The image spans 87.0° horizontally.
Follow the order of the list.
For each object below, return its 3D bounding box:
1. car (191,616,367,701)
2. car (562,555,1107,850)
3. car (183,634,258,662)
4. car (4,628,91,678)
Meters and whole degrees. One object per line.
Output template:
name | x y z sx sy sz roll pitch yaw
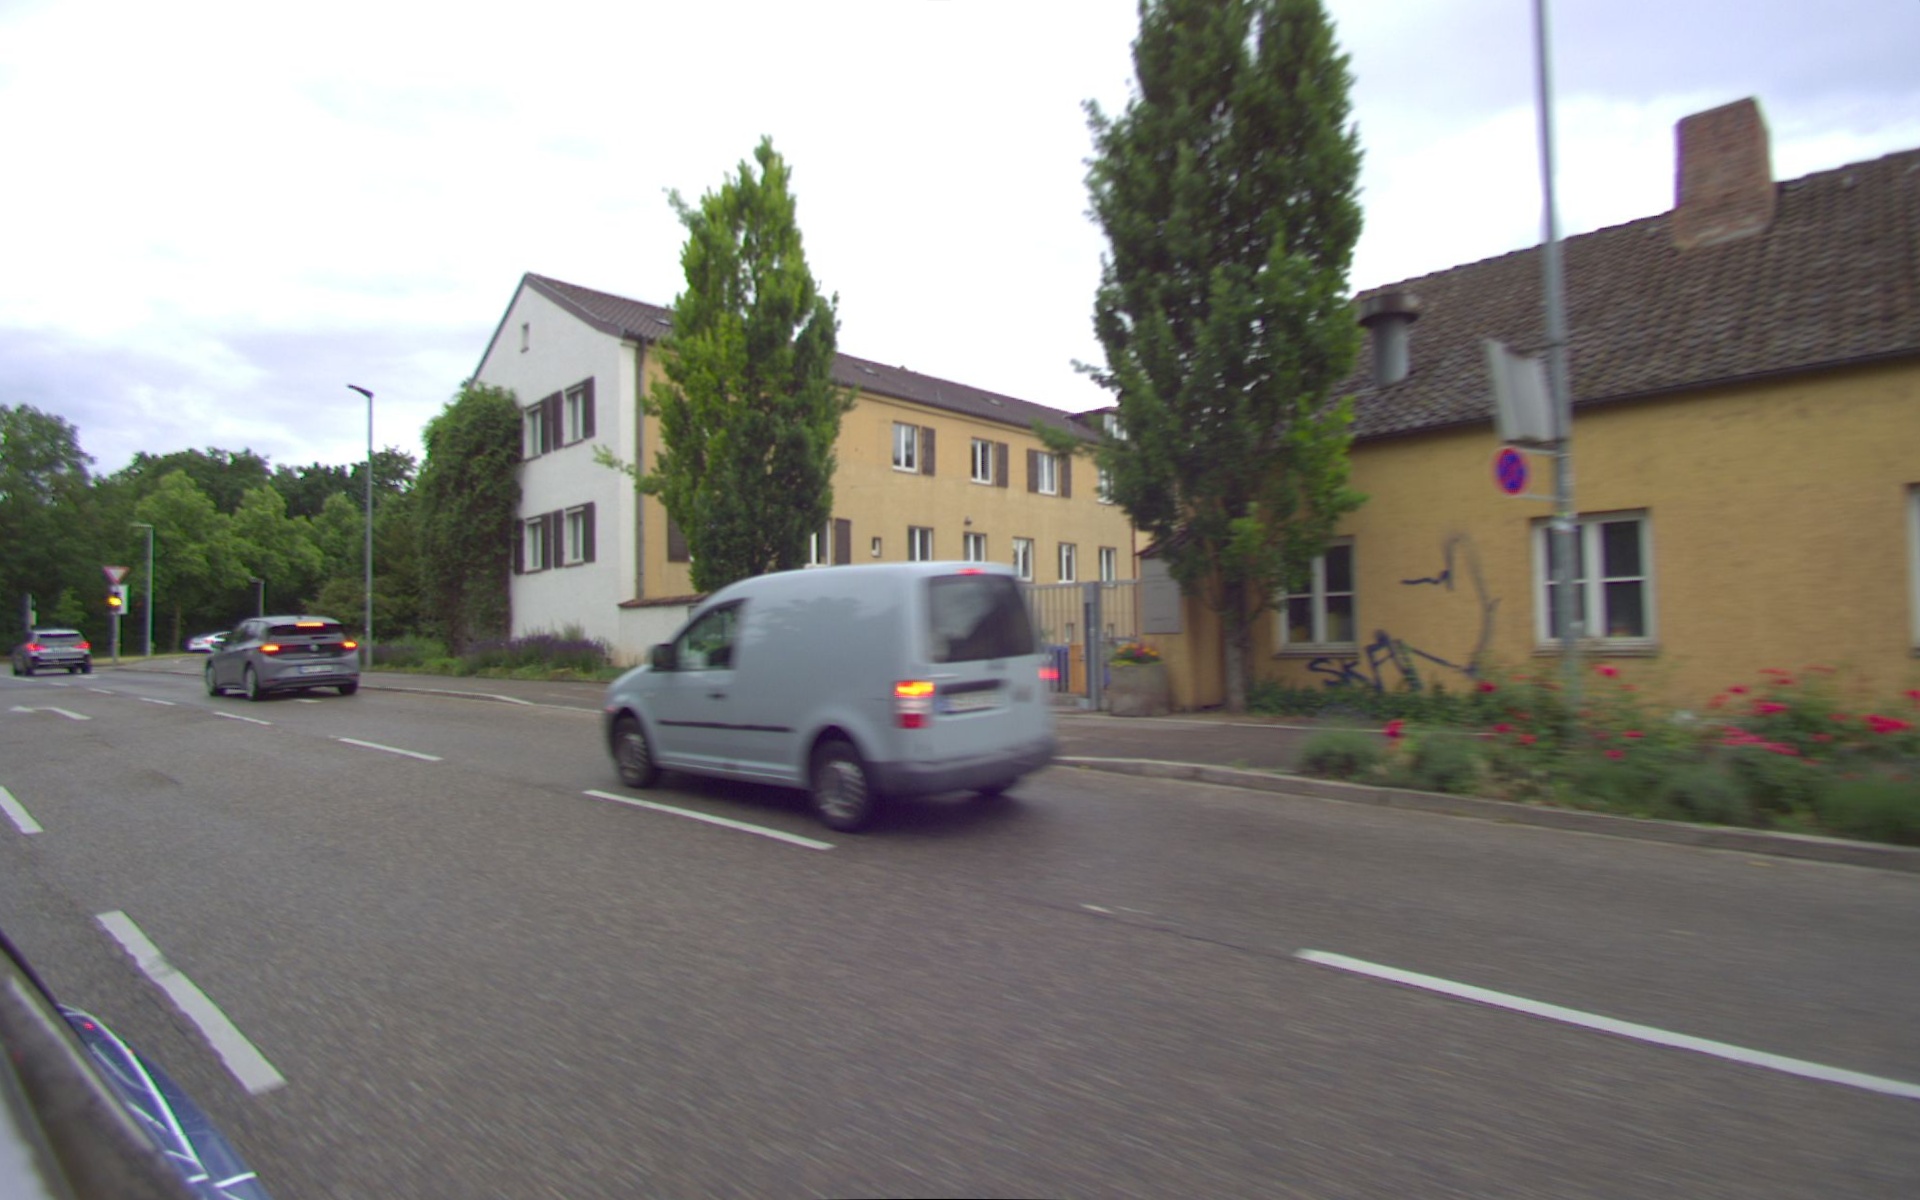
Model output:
car | -13.512 1.061 19.987 4.468 1.469 1.862 -1 0 42
car | -1.234 0.617 8.123 4.509 1.718 1.874 -1 0 42
car | -52.763 3.416 72.322 1.976 1.778 4.335 0 0 6
car | -32.833 1.898 36.374 4.343 1.641 1.899 -3 -2 42
